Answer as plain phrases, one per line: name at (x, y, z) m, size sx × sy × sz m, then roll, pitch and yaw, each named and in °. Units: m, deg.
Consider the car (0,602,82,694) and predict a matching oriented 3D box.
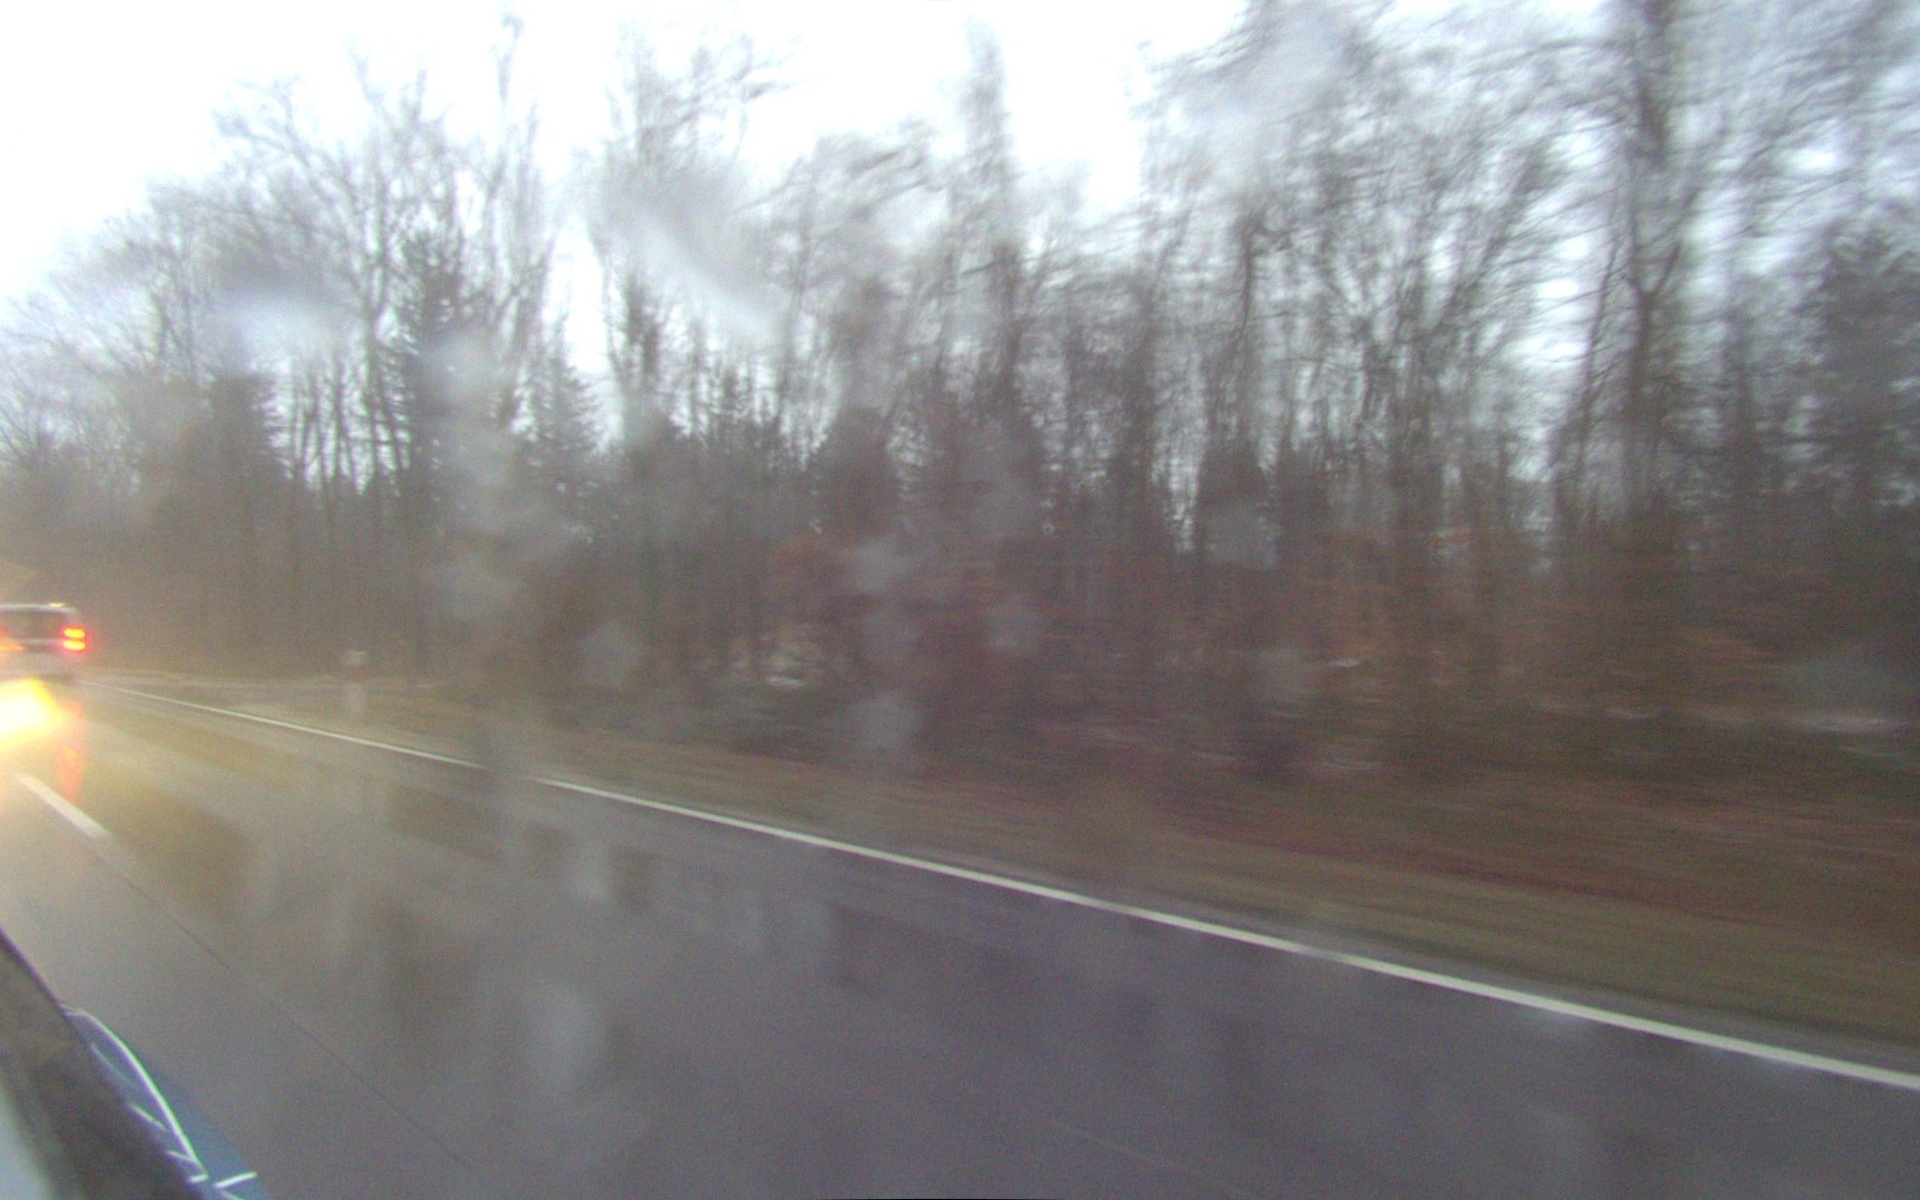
car at (-21.278, 1.032, 22.664) m, size 4.423 × 1.896 × 1.778 m, roll -1°, pitch -3°, yaw 41°
